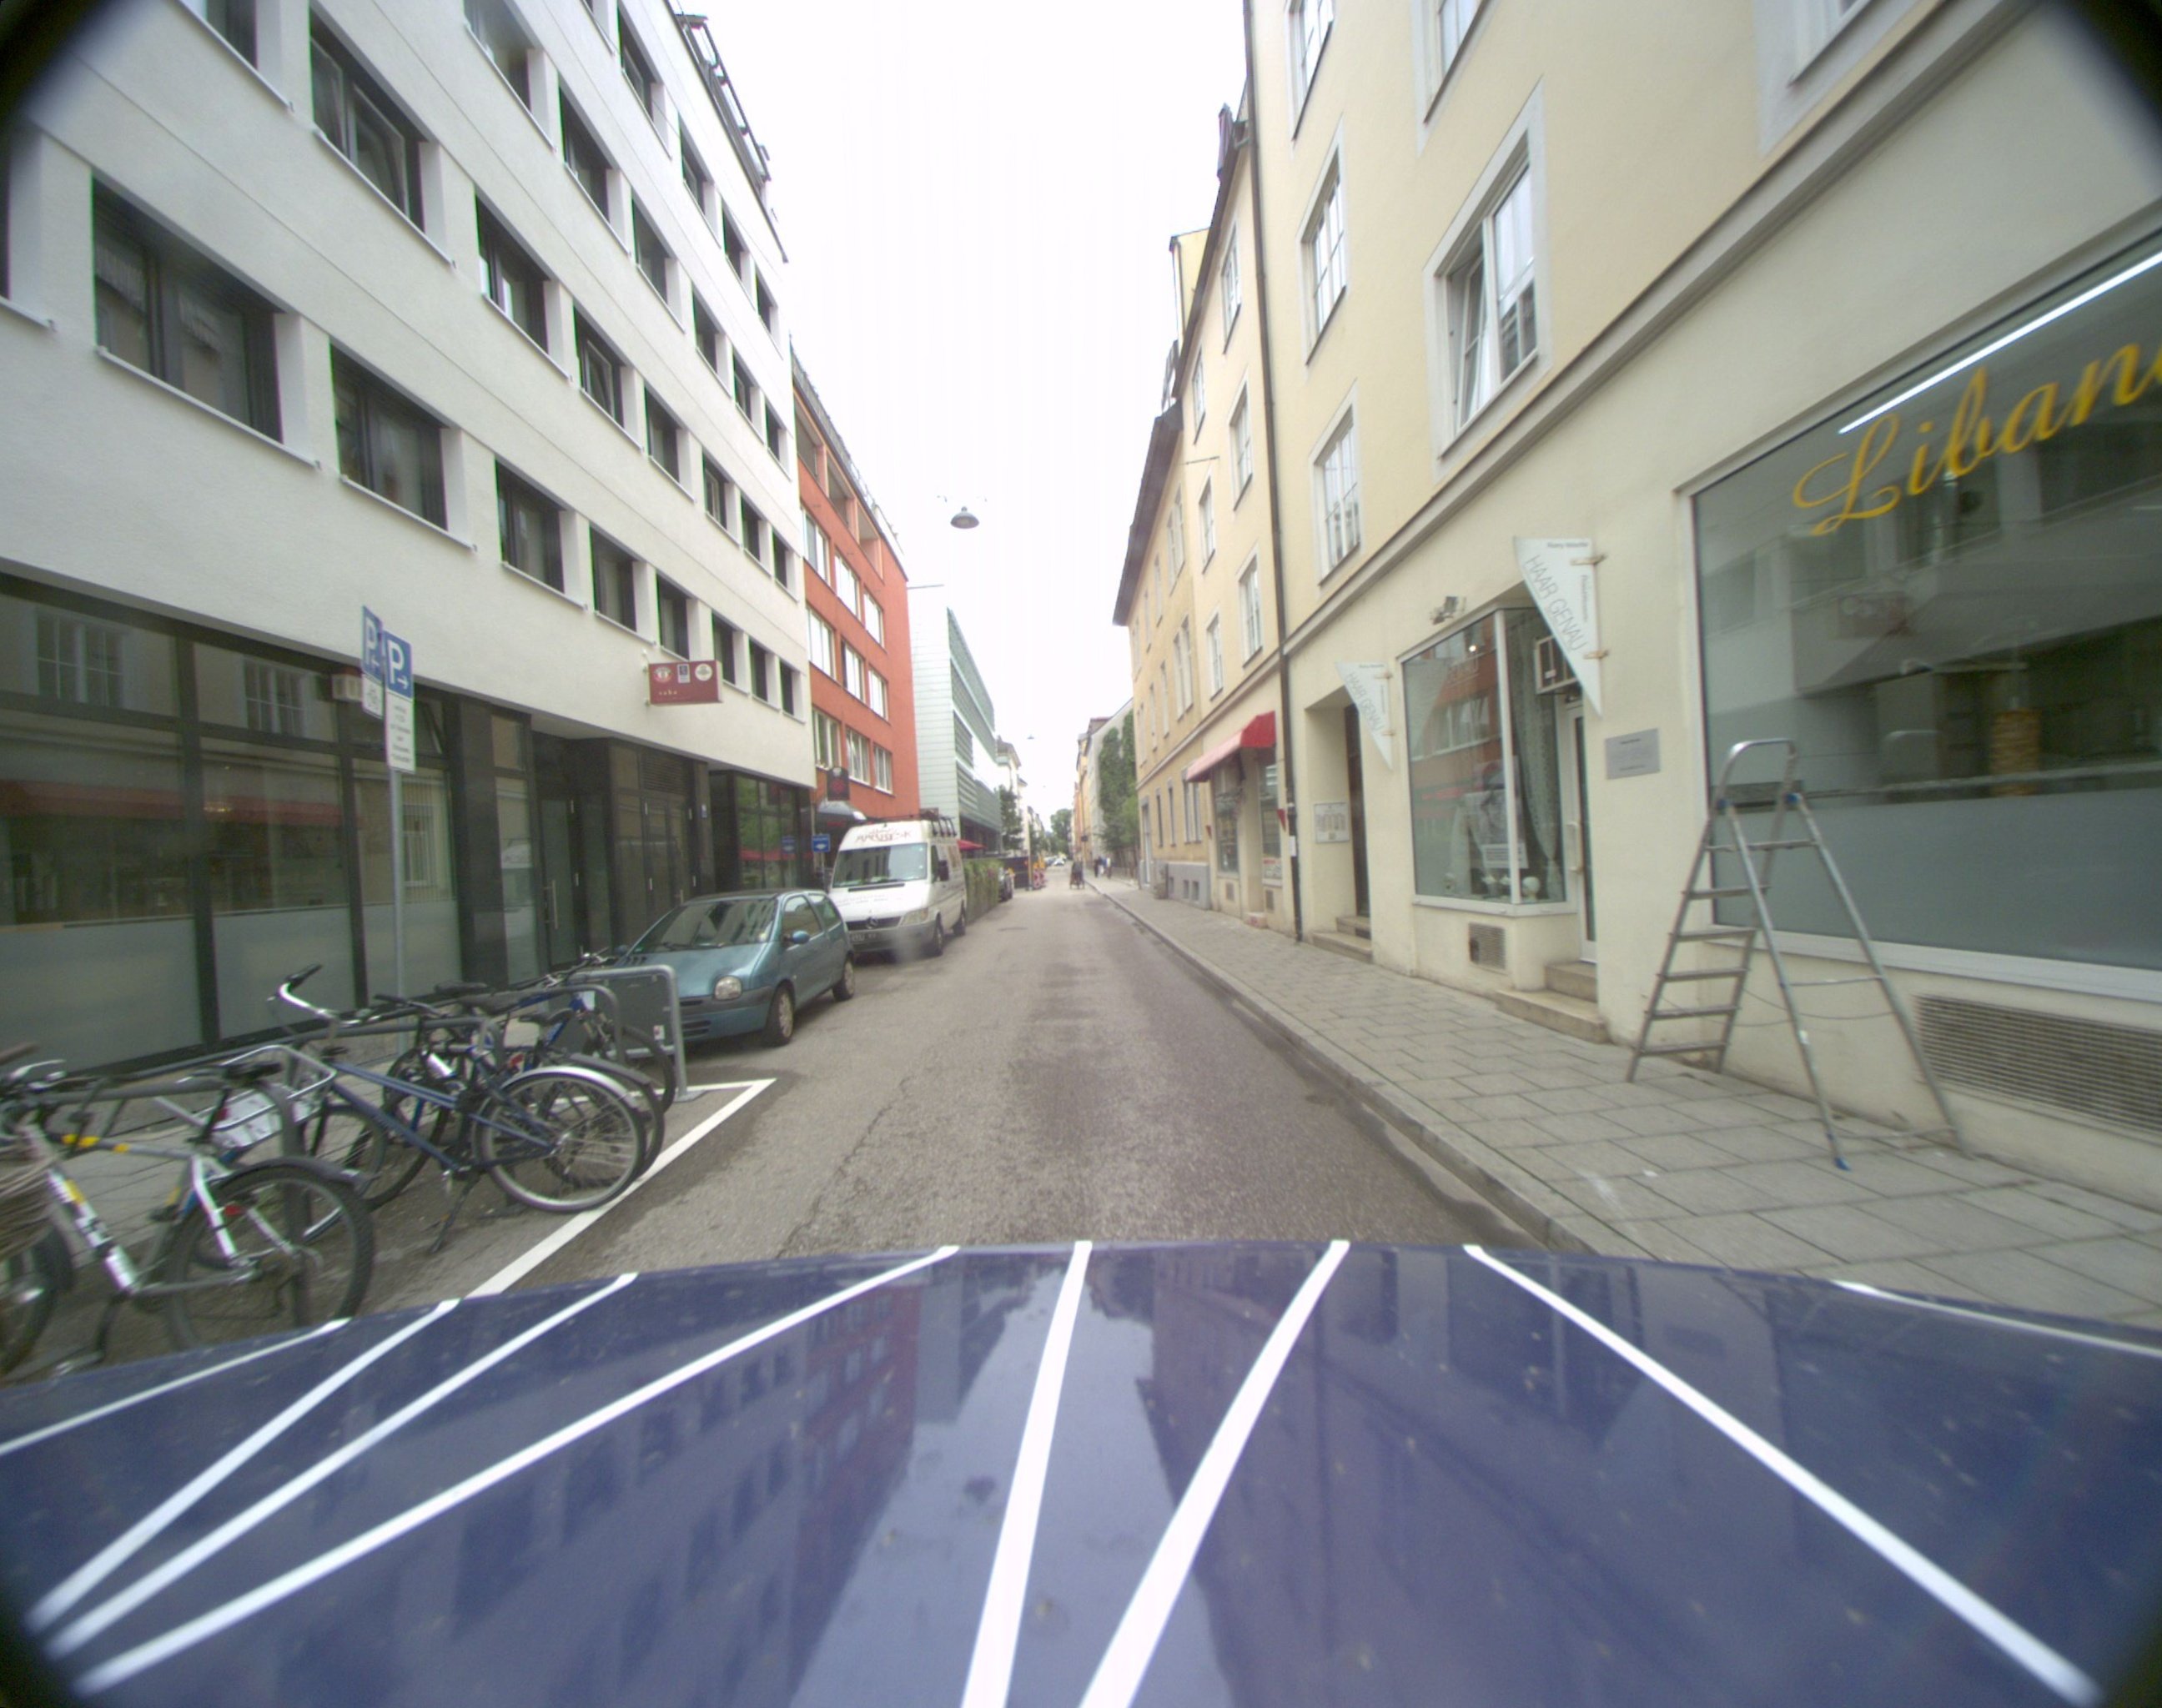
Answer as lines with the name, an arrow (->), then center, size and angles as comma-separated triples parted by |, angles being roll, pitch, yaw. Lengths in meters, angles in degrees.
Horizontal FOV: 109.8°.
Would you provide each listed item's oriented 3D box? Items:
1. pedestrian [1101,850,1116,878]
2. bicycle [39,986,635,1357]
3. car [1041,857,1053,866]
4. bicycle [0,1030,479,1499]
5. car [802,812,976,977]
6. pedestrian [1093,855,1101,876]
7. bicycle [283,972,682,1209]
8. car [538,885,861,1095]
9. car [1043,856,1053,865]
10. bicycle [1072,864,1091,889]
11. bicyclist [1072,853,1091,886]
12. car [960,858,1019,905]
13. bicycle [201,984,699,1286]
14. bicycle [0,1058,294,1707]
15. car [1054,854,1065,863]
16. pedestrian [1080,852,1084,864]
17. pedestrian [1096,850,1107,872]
pedestrian -> 1.864, 0.656, 51.638 | 0.861, 1.834, 0.974 | -4, 0, 0
bicycle -> -2.993, 1.252, 3.172 | 1.879, 1.197, 0.488 | -4, -1, -3
car -> -5.395, 1.232, 120.589 | 1.625, 1.259, 4.328 | -4, 0, -2
bicycle -> -3.202, 1.303, 2.486 | 1.879, 1.150, 0.565 | -5, -1, -3
car -> -3.478, 0.661, 15.144 | 1.925, 2.491, 5.996 | -5, 0, -2
pedestrian -> 1.291, 0.891, 61.025 | 0.554, 1.650, 0.997 | -4, 1, -2
bicycle -> -3.526, 1.378, 4.574 | 1.879, 1.073, 0.488 | -6, -1, -3
car -> -3.566, 1.161, 7.873 | 1.584, 1.455, 3.551 | -4, 0, -2
car -> -6.250, 1.223, 143.152 | 1.794, 1.550, 3.999 | -4, 0, -2
bicycle -> 0.022, 1.219, 41.775 | 0.934, 1.250, 2.413 | -2, 1, -1
bicyclist -> 0.018, 0.831, 41.393 | 0.929, 1.711, 1.099 | -2, 0, -1
car -> -3.825, 1.114, 32.472 | 1.828, 1.700, 4.389 | -4, 0, 0
bicycle -> -2.972, 1.305, 3.693 | 1.879, 1.101, 0.488 | -5, -1, -3
bicycle -> -3.126, 1.198, 1.755 | 1.879, 1.197, 0.579 | -2, 0, -3
car -> -4.148, 0.822, 148.470 | 1.999, 1.583, 4.374 | -4, 0, -2
pedestrian -> 0.183, 0.670, 126.688 | 0.493, 1.814, 0.552 | -3, 0, -2
pedestrian -> 1.719, 0.570, 63.384 | 0.778, 1.826, 0.991 | -4, 1, -2
